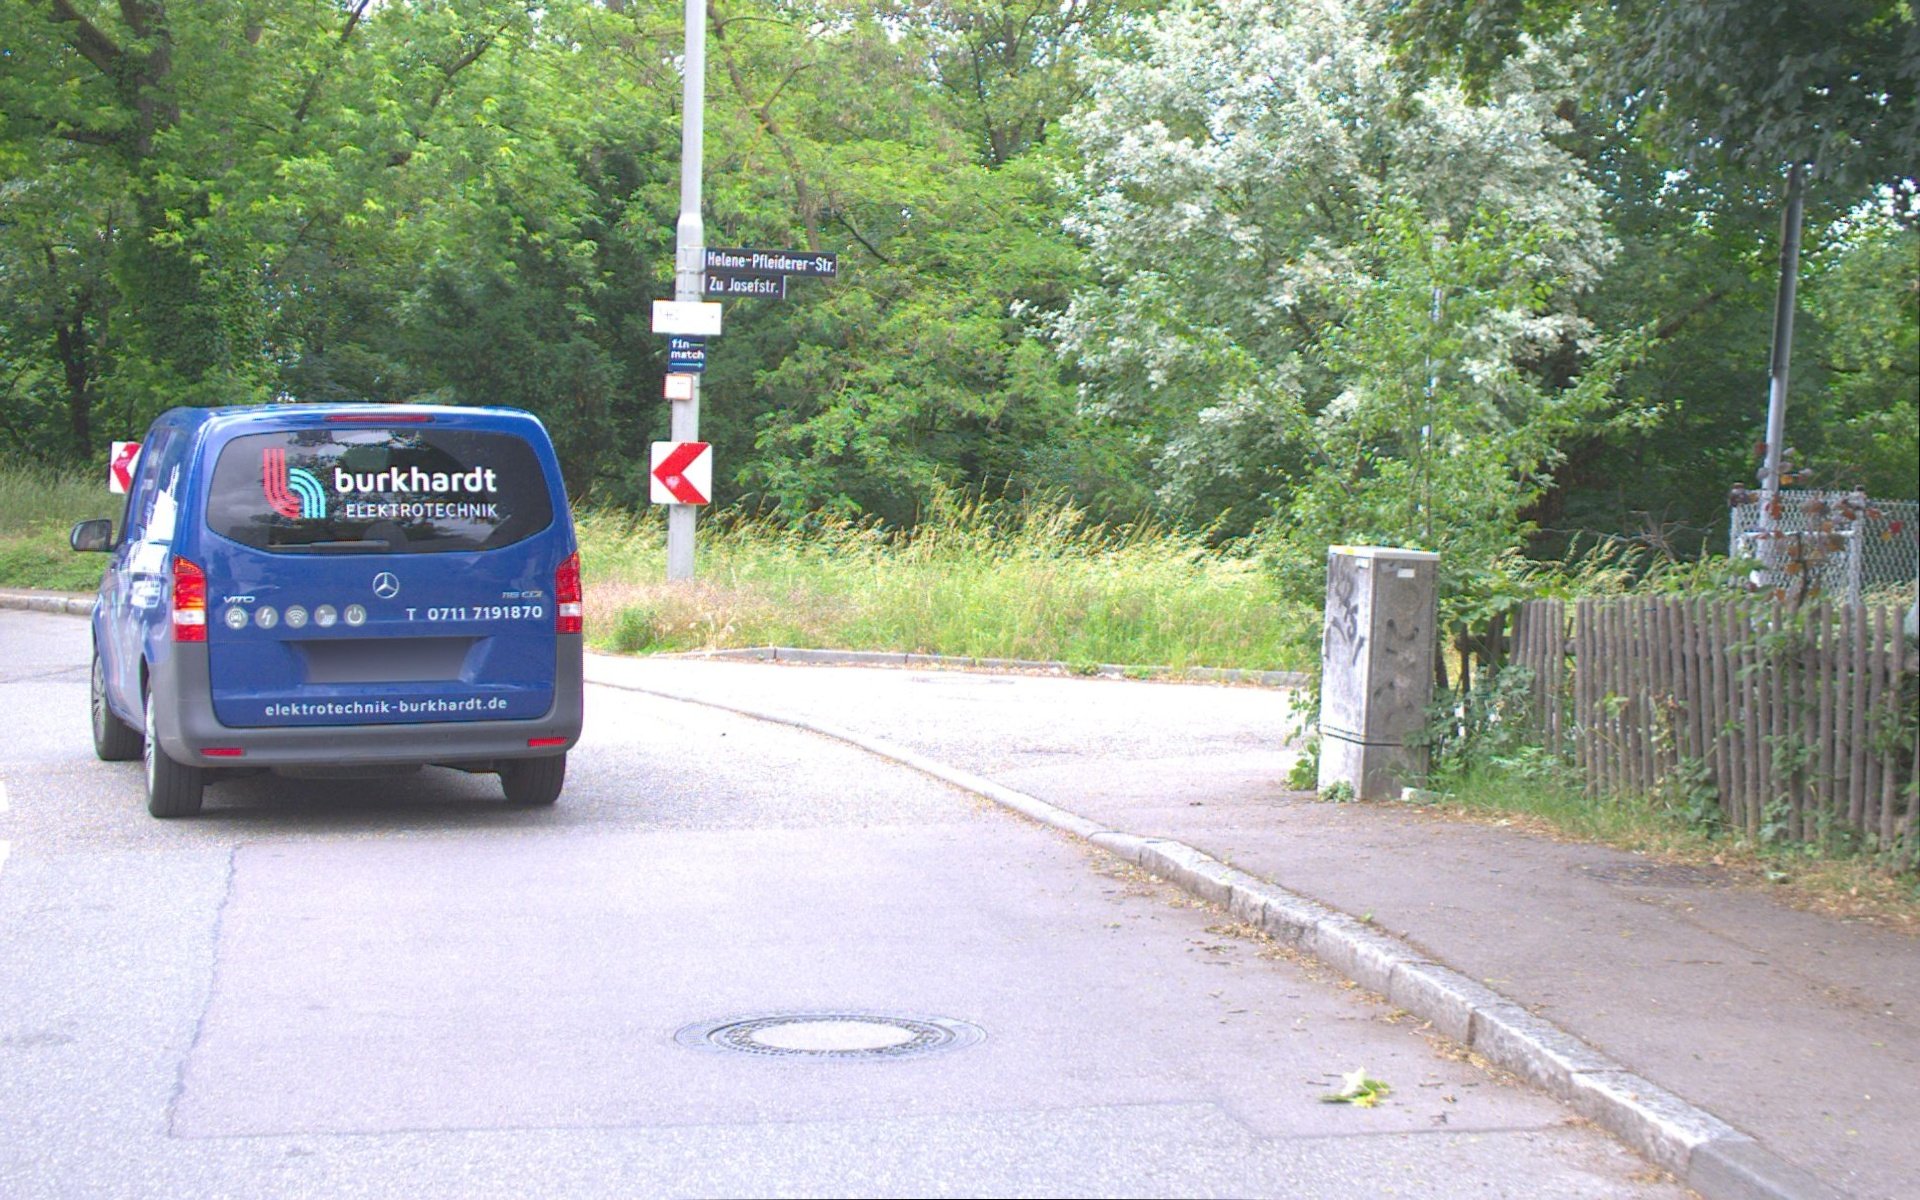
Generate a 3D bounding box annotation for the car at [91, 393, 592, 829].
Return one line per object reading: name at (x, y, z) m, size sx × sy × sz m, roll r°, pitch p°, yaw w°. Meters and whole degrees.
car at (-3.142, -0.037, 16.758) m, size 1.913 × 1.831 × 4.295 m, roll -1°, pitch 2°, yaw -17°
